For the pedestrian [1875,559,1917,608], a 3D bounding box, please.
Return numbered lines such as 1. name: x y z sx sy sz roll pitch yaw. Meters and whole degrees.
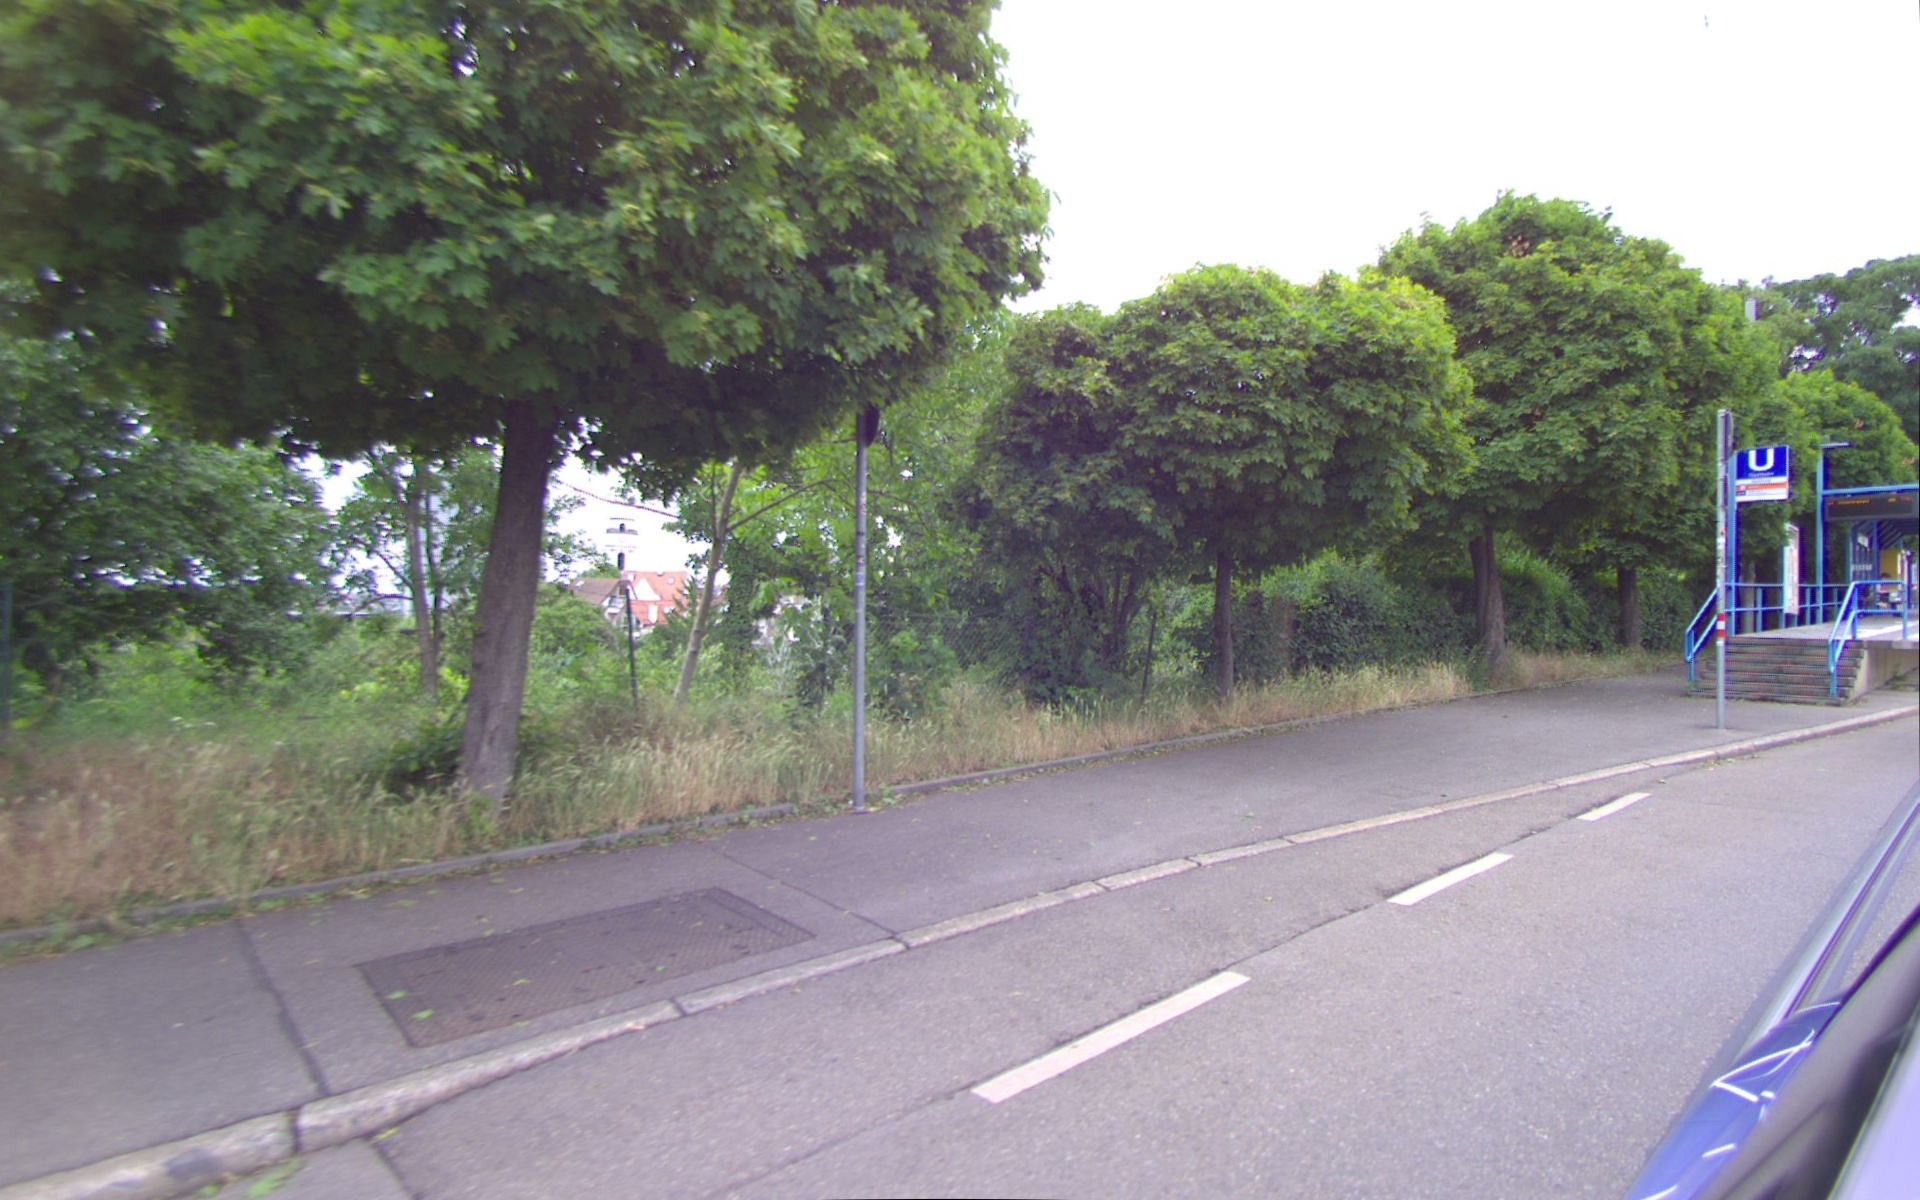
1. pedestrian: 26.167 -0.458 28.294 0.645 1.331 0.780 0 0 -41
